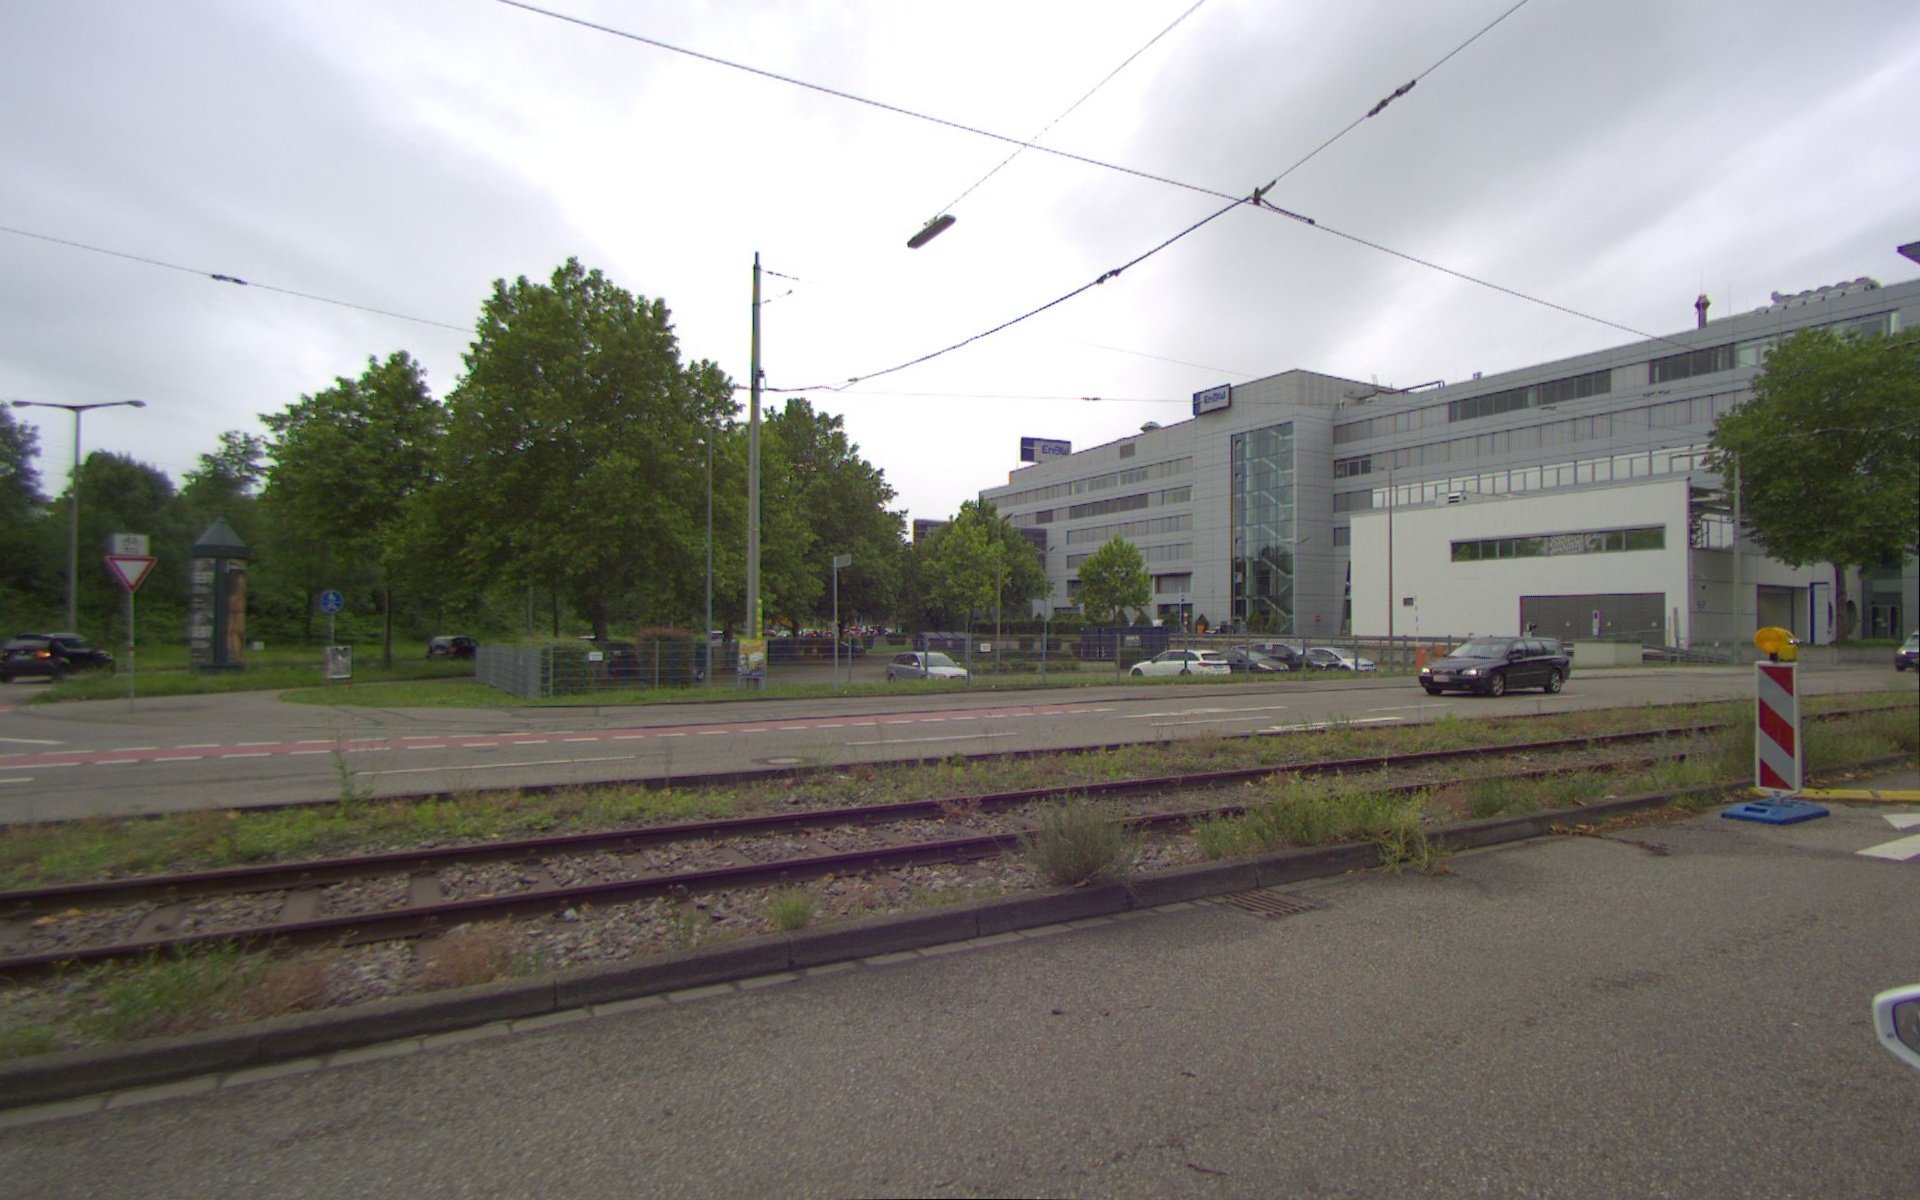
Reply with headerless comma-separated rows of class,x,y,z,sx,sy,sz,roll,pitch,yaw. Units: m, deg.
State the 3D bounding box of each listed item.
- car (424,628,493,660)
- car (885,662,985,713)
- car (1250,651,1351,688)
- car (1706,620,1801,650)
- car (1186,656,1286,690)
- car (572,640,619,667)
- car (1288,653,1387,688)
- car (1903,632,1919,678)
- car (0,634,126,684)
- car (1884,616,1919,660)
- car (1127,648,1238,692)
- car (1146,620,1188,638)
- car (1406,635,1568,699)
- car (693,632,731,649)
car,-27.027,2.349,54.262,1.739,1.548,3.671,1,0,4
car,-0.949,3.043,35.661,1.889,1.552,4.194,1,-2,-28
car,15.209,3.079,45.033,1.892,1.505,3.965,1,-2,-32
car,50.954,2.231,64.587,1.806,1.692,4.485,2,0,-33
car,11.882,3.120,43.472,1.892,1.332,3.965,1,-2,-32
car,-25.259,3.713,69.722,1.743,1.674,3.671,1,0,5
car,17.444,3.228,46.558,1.892,1.505,3.965,1,-2,-32
car,32.604,1.742,31.545,1.792,1.494,4.126,2,-3,-8
car,-30.088,1.931,33.641,1.743,1.548,3.662,1,-2,-11
car,41.367,1.619,42.930,4.381,1.806,1.808,1,-2,-34
car,9.154,2.835,41.598,1.892,1.655,4.501,1,-2,-32
car,23.881,3.365,115.649,4.595,2.040,1.984,1,-2,-30
car,13.417,1.652,25.499,4.381,1.492,1.808,1,-2,-34
car,-24.484,3.970,99.366,1.928,1.548,5.013,1,0,7
